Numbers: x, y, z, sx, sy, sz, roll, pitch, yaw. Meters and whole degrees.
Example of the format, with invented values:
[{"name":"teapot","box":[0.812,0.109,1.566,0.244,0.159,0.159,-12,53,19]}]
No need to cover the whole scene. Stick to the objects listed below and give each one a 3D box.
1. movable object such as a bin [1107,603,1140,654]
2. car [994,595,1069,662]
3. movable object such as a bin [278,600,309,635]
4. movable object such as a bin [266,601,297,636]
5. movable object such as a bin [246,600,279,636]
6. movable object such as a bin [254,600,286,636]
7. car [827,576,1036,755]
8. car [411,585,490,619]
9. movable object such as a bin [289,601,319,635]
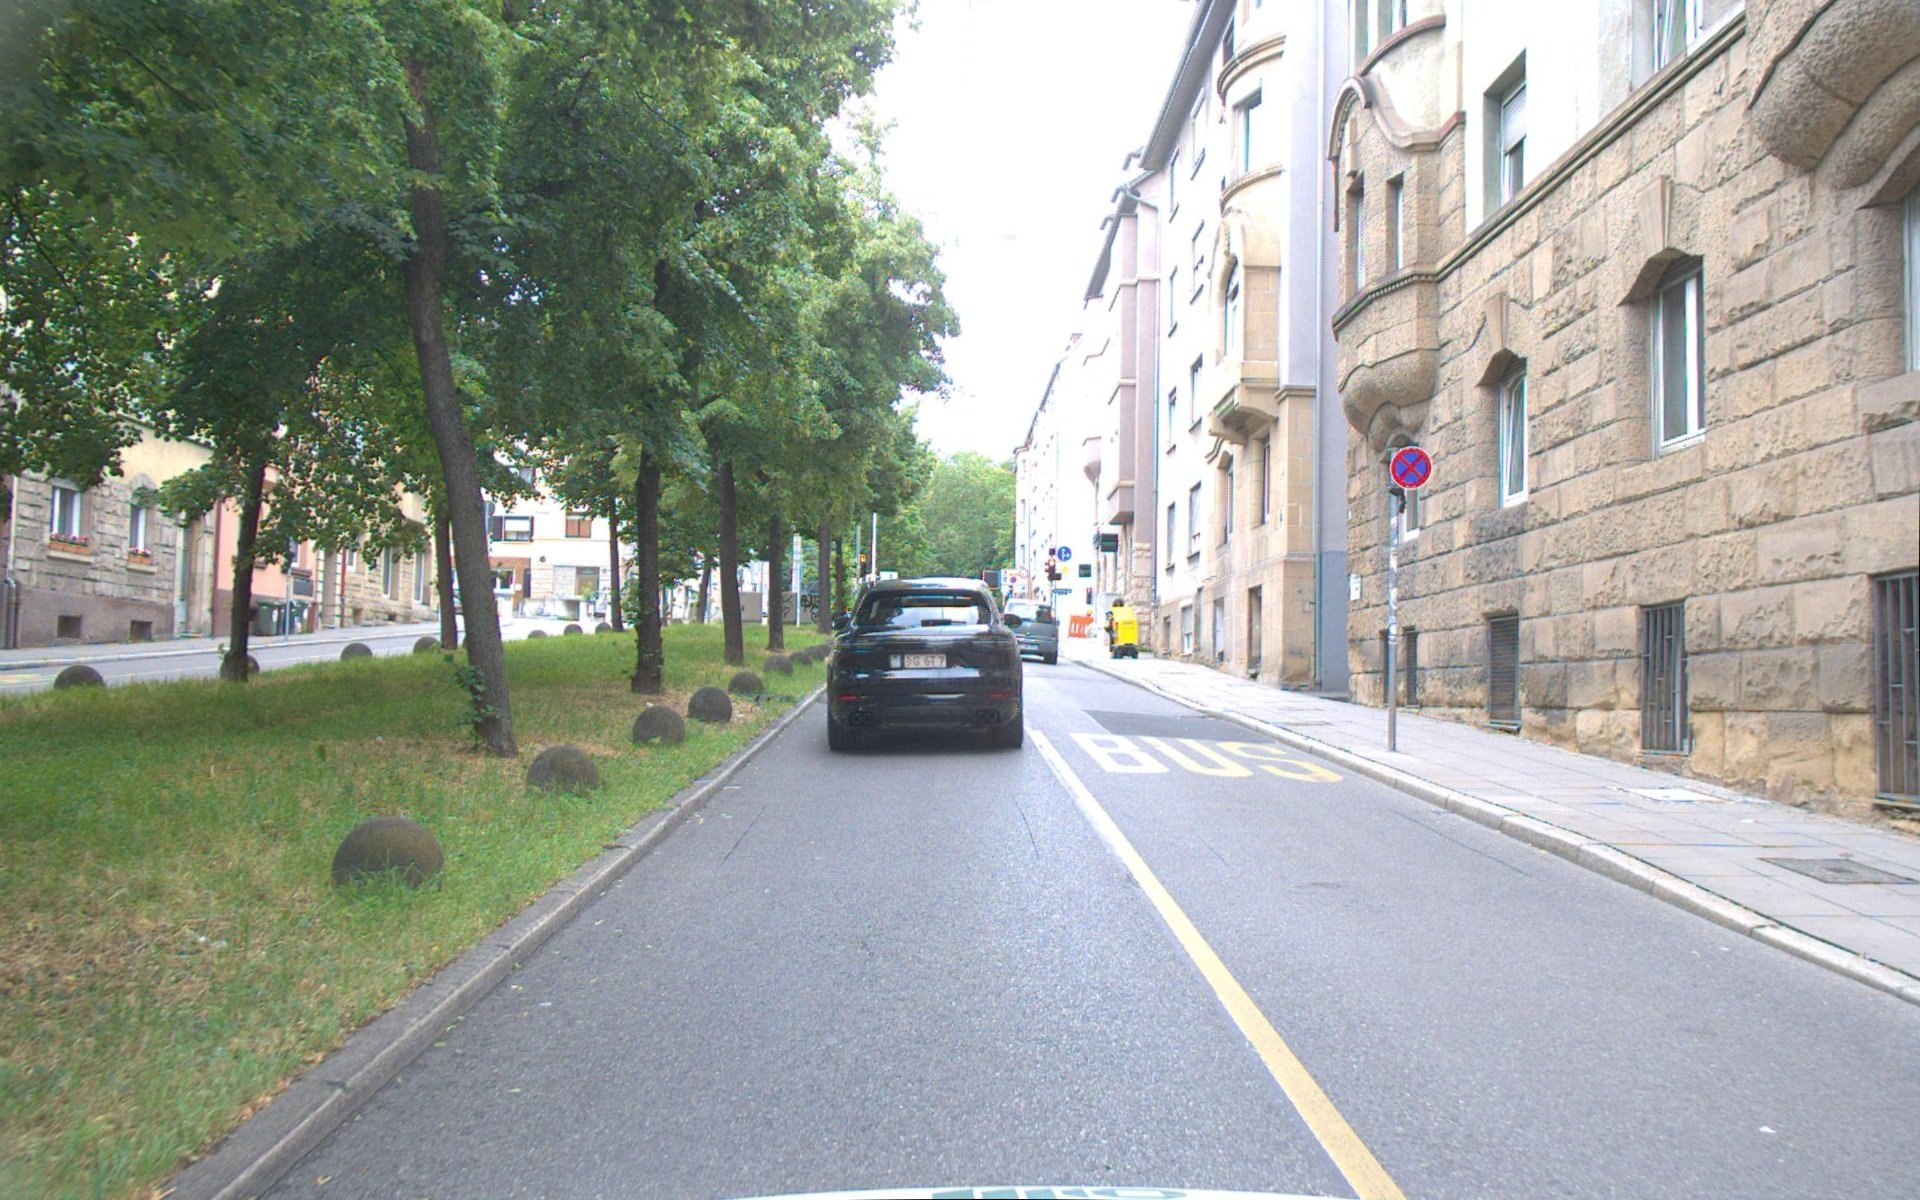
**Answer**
[{"name":"movable object such as a bin","box":[4.695,0.827,47.520,0.705,1.446,1.692,0,-1,-3]},{"name":"car","box":[1.867,0.746,44.352,1.717,1.621,3.629,3,-1,-1]},{"name":"movable object such as a bin","box":[-18.265,0.483,45.309,0.597,0.920,0.601,2,-1,-5]},{"name":"movable object such as a bin","box":[-18.257,0.486,44.511,0.597,0.920,0.601,2,-1,-5]},{"name":"movable object such as a bin","box":[-18.202,0.473,43.149,0.597,0.920,0.601,2,-1,-5]},{"name":"movable object such as a bin","box":[-18.266,0.481,43.779,0.597,0.920,0.601,2,-1,-5]},{"name":"car","box":[-0.268,0.608,17.538,1.953,1.682,4.000,0,0,0]},{"name":"car","box":[-26.744,0.131,86.772,3.915,1.694,1.877,0,-2,33]},{"name":"movable object such as a bin","box":[-18.264,0.490,46.042,0.597,0.920,0.601,2,-1,-5]}]
